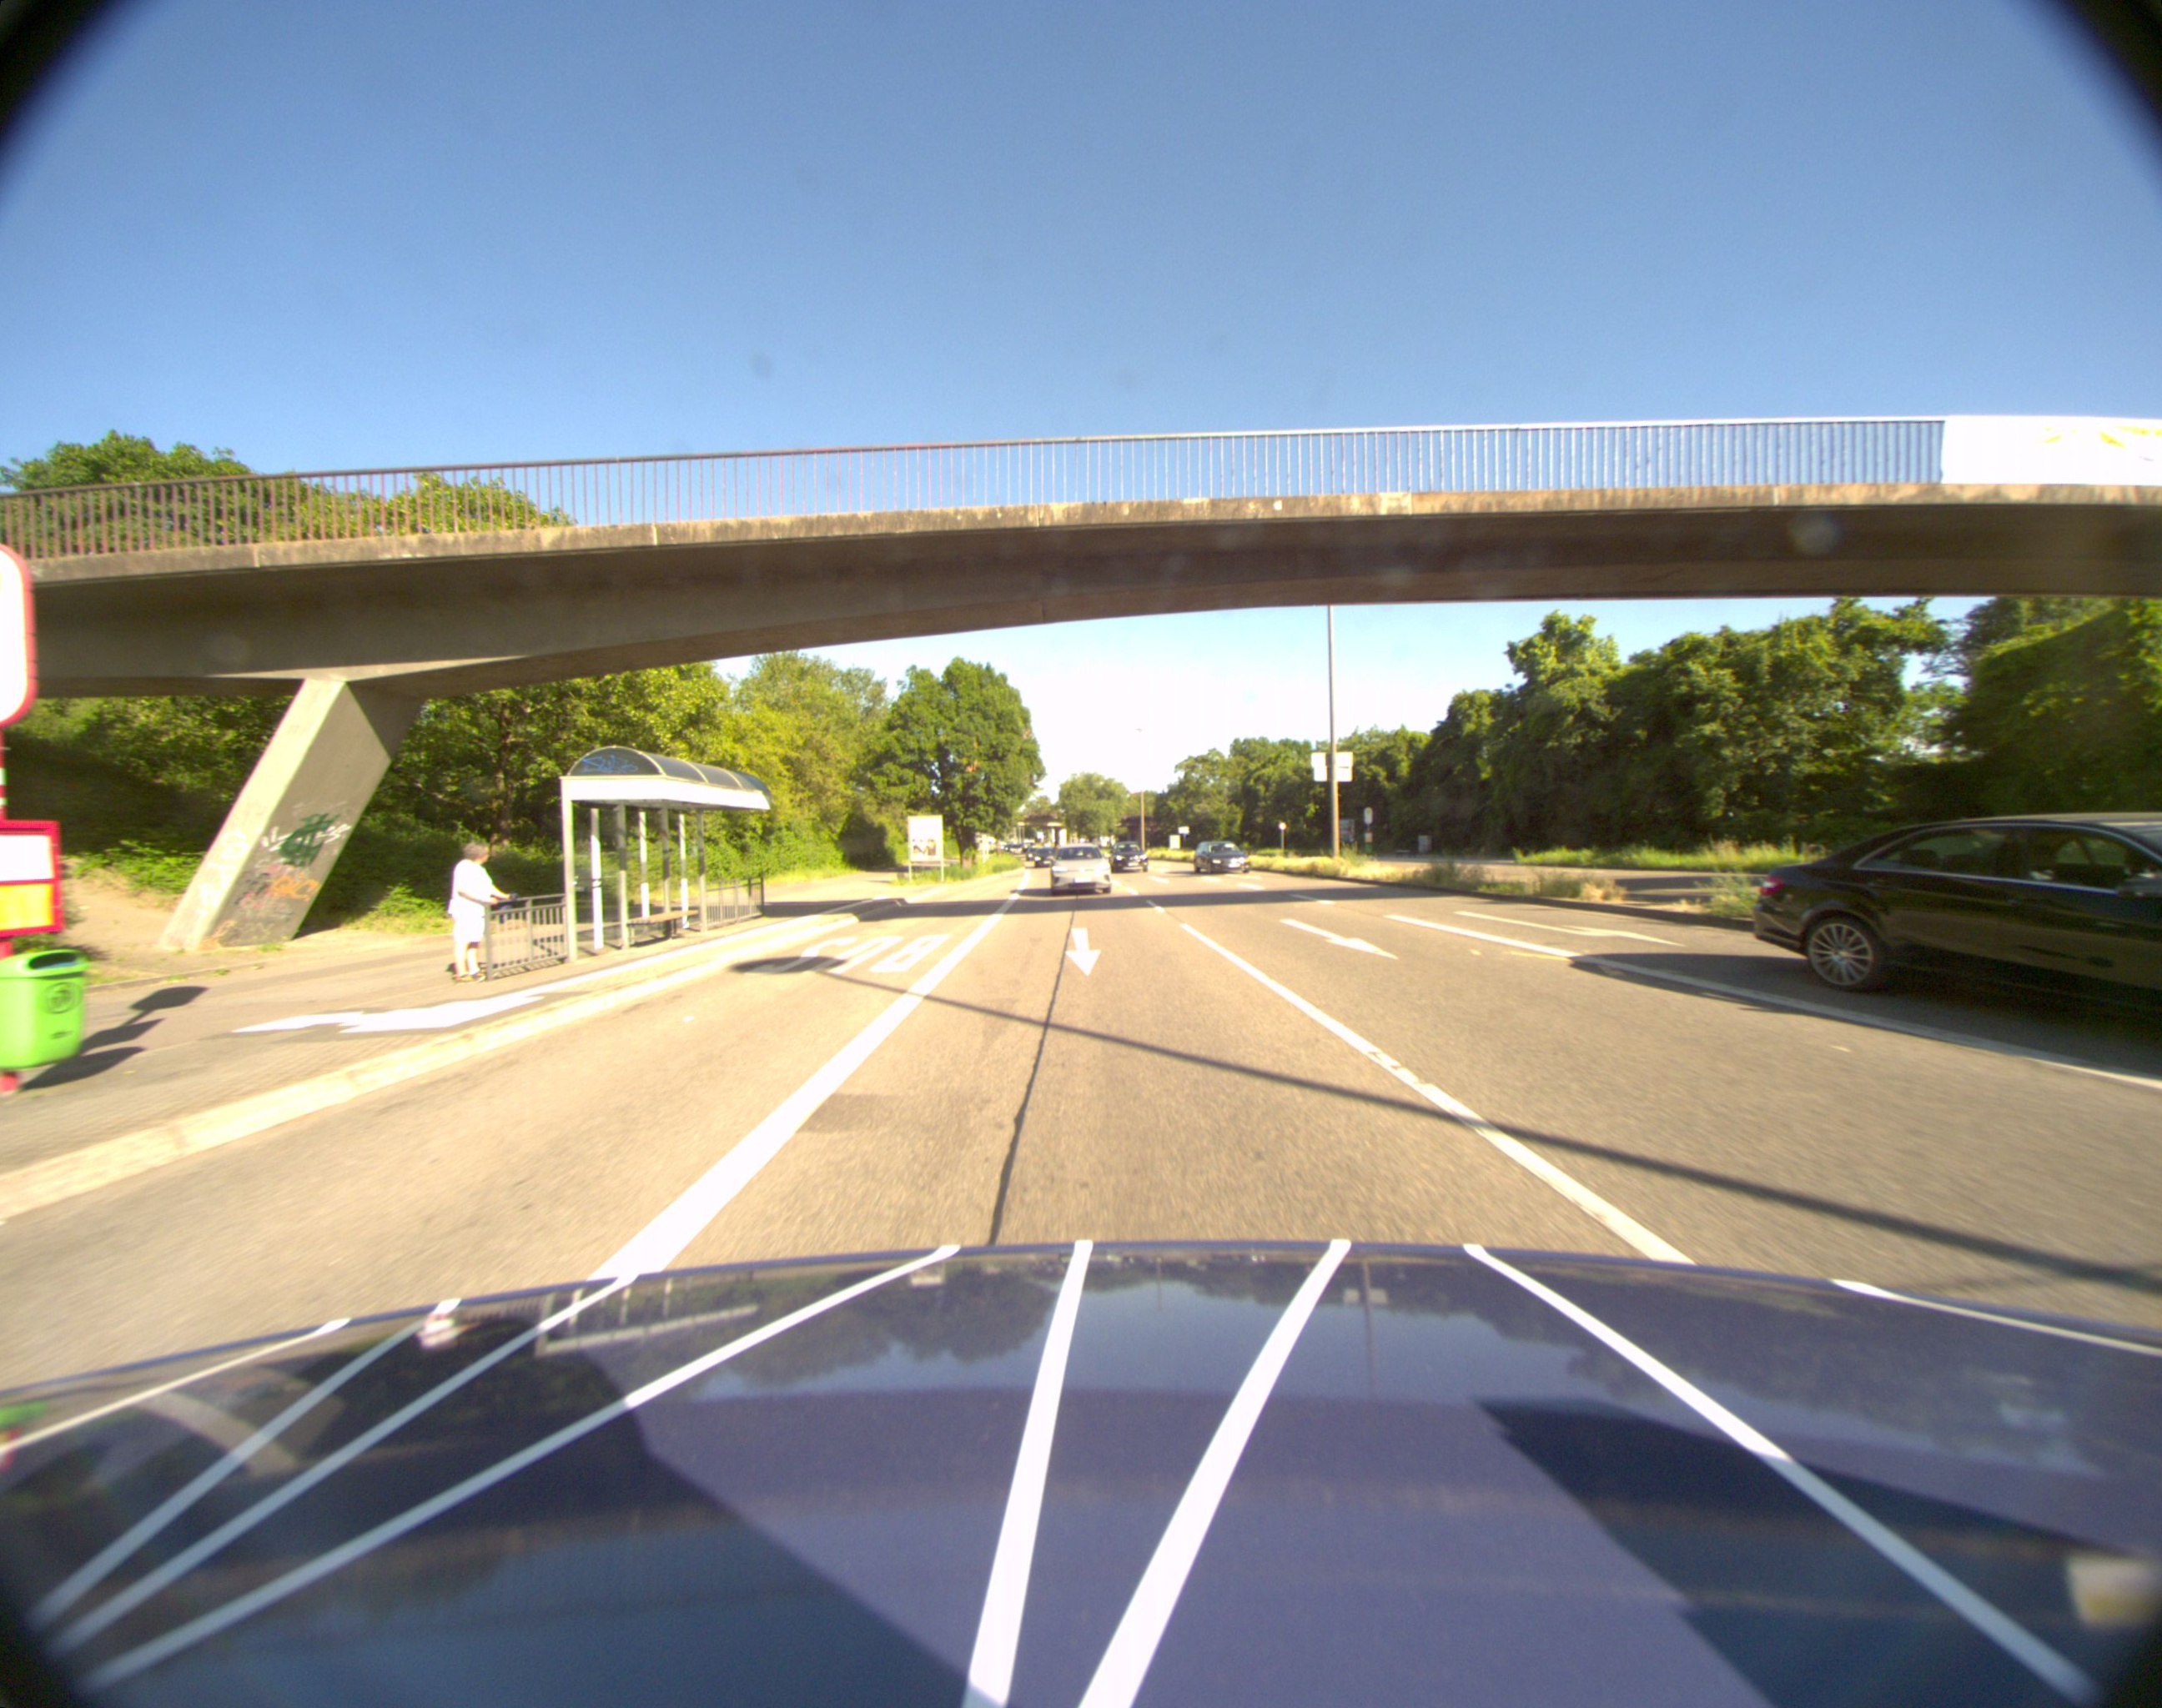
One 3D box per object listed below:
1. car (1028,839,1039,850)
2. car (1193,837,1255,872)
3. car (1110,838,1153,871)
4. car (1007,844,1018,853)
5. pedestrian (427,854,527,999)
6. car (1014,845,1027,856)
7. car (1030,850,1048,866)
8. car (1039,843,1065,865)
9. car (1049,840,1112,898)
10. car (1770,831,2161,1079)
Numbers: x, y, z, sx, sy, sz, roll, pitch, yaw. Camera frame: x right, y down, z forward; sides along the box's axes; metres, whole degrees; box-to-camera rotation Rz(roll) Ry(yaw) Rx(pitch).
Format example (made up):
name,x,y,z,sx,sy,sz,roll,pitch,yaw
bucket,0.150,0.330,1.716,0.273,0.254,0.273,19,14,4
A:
name,x,y,z,sx,sy,sz,roll,pitch,yaw
car,-9.146,-1.732,145.254,1.999,2.002,3.997,-2,1,-5
car,6.577,0.026,35.339,1.796,1.487,3.999,-2,0,-5
car,2.682,0.017,41.243,1.714,1.653,3.854,-3,1,-4
car,-12.358,-1.026,136.672,1.874,1.611,3.834,-2,1,-4
pedestrian,-7.165,0.828,9.049,0.589,1.652,0.716,-1,1,-3
car,-9.659,-0.547,121.365,1.874,1.611,3.834,-2,1,-5
car,-4.453,0.396,81.030,1.873,1.611,3.835,-2,1,-2
car,-2.253,-0.014,58.485,1.873,1.611,3.835,-2,1,-2
car,0.063,0.432,24.904,1.801,1.665,4.239,-3,1,2
car,7.363,0.591,4.912,1.778,1.478,4.529,-1,1,1
